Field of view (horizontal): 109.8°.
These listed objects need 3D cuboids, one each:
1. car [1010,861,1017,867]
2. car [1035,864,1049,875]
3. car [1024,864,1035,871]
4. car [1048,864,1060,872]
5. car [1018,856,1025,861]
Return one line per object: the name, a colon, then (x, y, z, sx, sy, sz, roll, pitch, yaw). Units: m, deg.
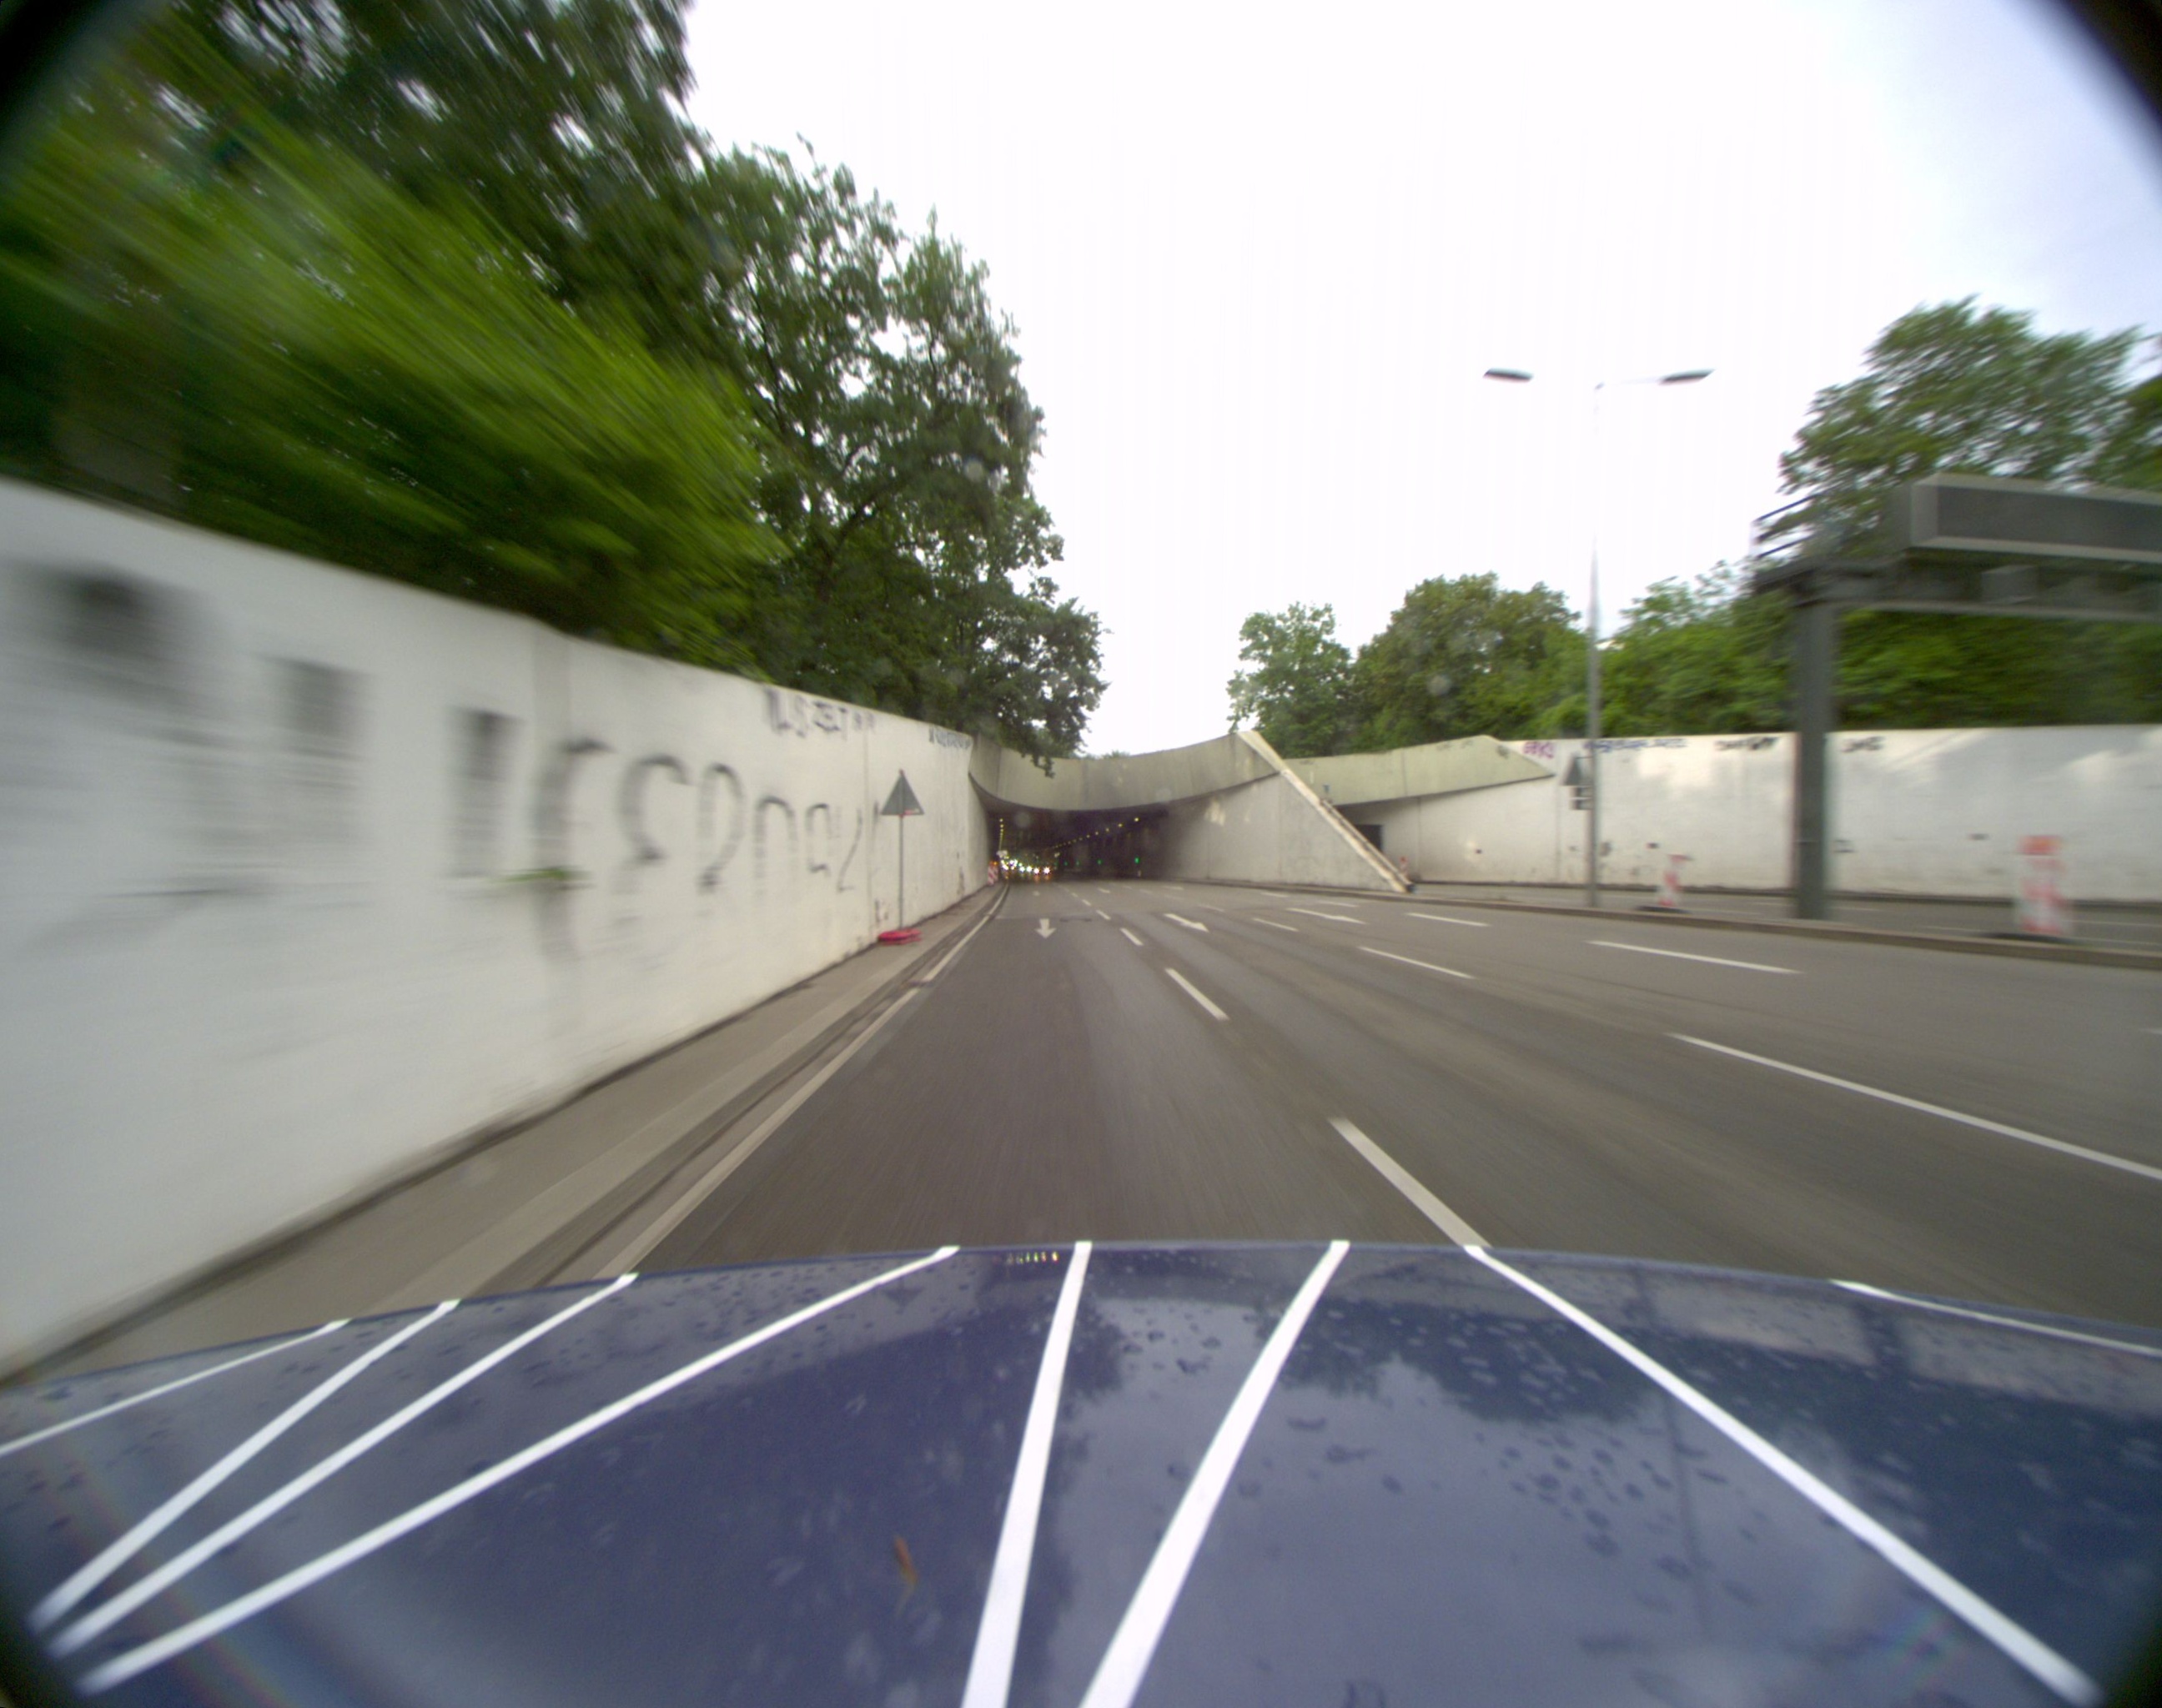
car: (-15.956, 2.255, 179.526, 1.699, 1.300, 3.822, 0, 1, -7)
car: (-5.368, 2.136, 104.266, 1.699, 1.393, 3.822, 0, 1, -6)
car: (-10.188, 2.631, 150.334, 1.960, 1.300, 3.822, 0, 1, -5)
car: (-4.459, 2.302, 125.294, 1.698, 1.300, 3.822, 0, 1, -5)
car: (-17.539, 1.361, 223.279, 1.699, 1.300, 3.822, 0, 1, -7)
